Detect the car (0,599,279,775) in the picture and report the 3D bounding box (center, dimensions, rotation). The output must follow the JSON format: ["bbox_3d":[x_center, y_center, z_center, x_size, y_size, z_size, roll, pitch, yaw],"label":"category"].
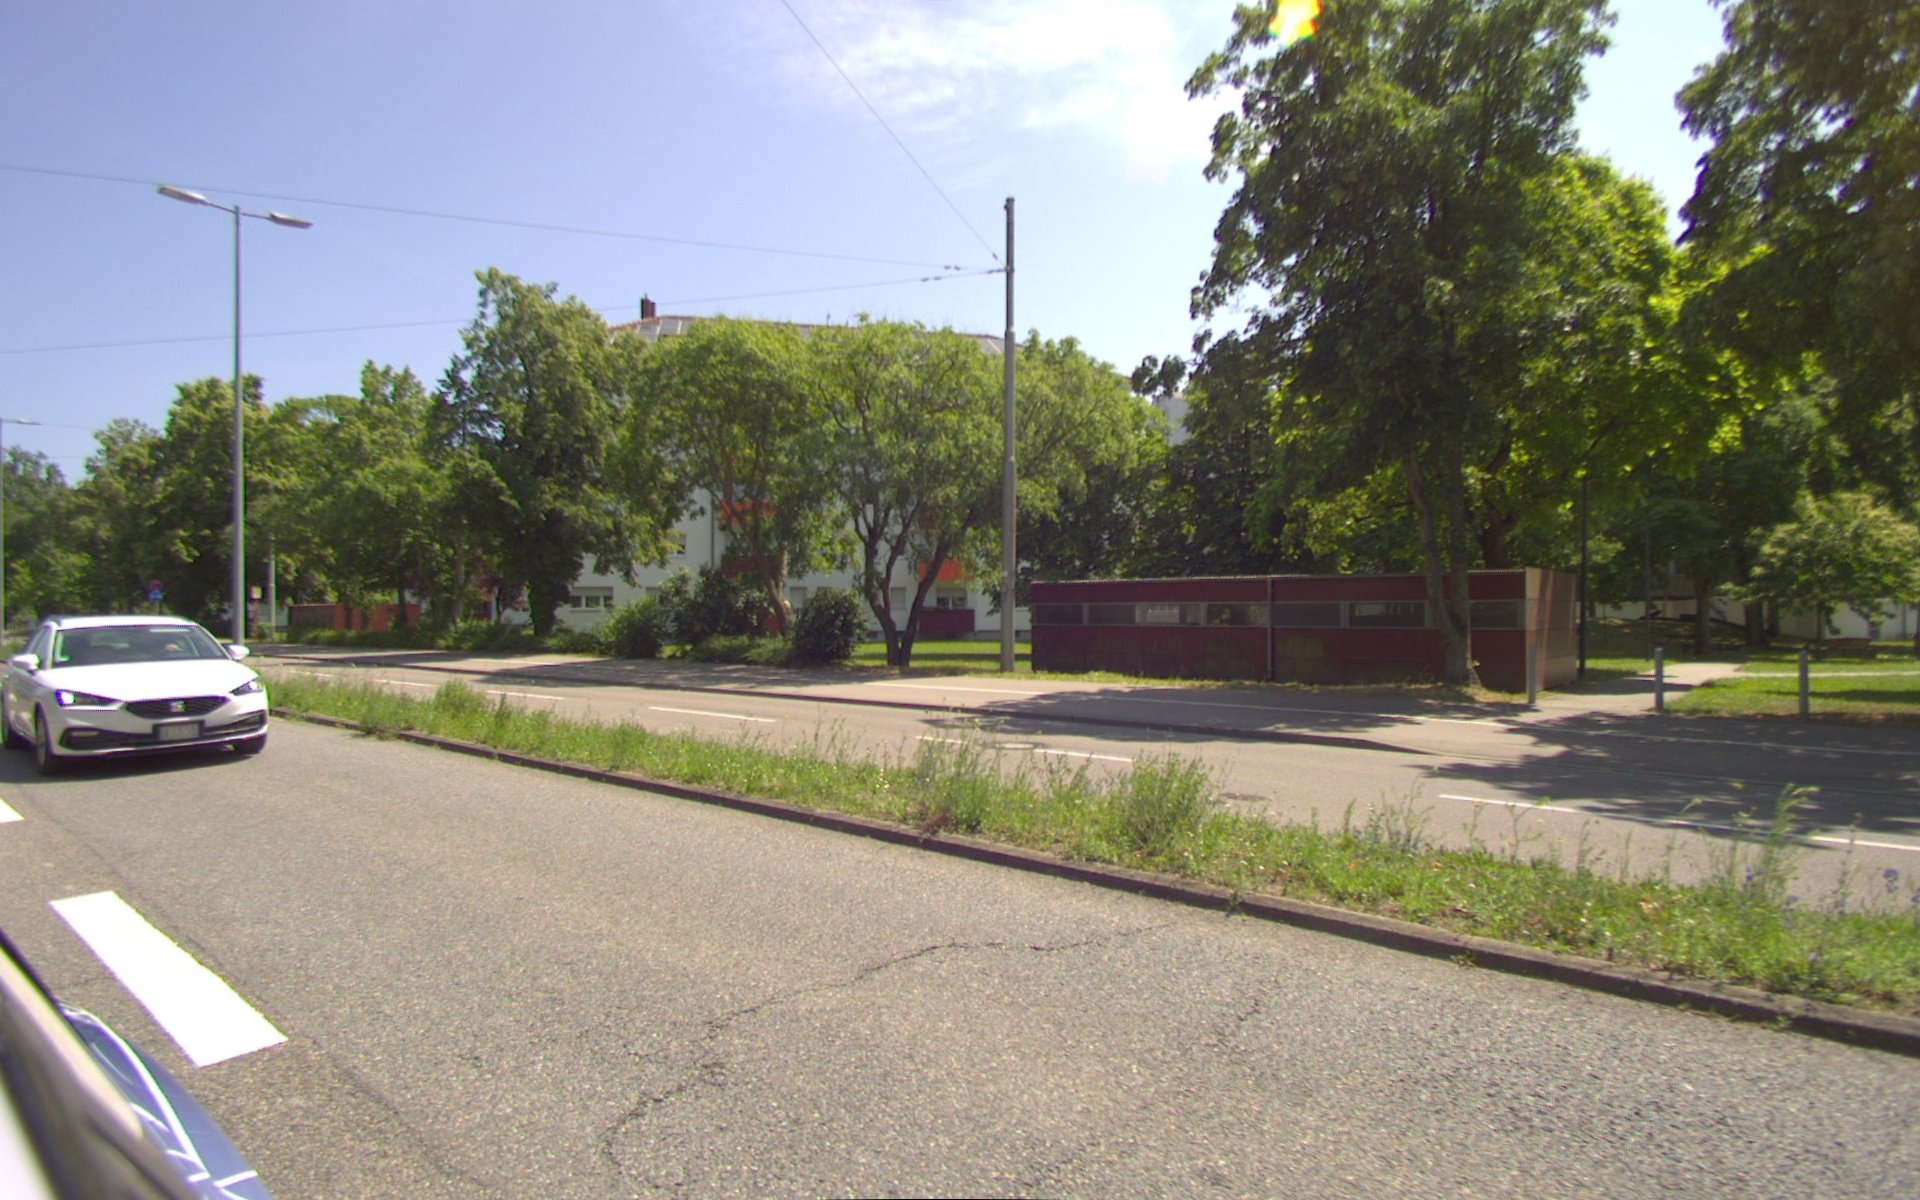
[{"bbox_3d":[-8.832,0.776,10.674,4.110,1.479,1.749,-1,0,42],"label":"car"}]

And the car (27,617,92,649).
[{"bbox_3d":[-48.959,1.773,54.998,4.752,1.638,1.904,-1,-2,39],"label":"car"}]
